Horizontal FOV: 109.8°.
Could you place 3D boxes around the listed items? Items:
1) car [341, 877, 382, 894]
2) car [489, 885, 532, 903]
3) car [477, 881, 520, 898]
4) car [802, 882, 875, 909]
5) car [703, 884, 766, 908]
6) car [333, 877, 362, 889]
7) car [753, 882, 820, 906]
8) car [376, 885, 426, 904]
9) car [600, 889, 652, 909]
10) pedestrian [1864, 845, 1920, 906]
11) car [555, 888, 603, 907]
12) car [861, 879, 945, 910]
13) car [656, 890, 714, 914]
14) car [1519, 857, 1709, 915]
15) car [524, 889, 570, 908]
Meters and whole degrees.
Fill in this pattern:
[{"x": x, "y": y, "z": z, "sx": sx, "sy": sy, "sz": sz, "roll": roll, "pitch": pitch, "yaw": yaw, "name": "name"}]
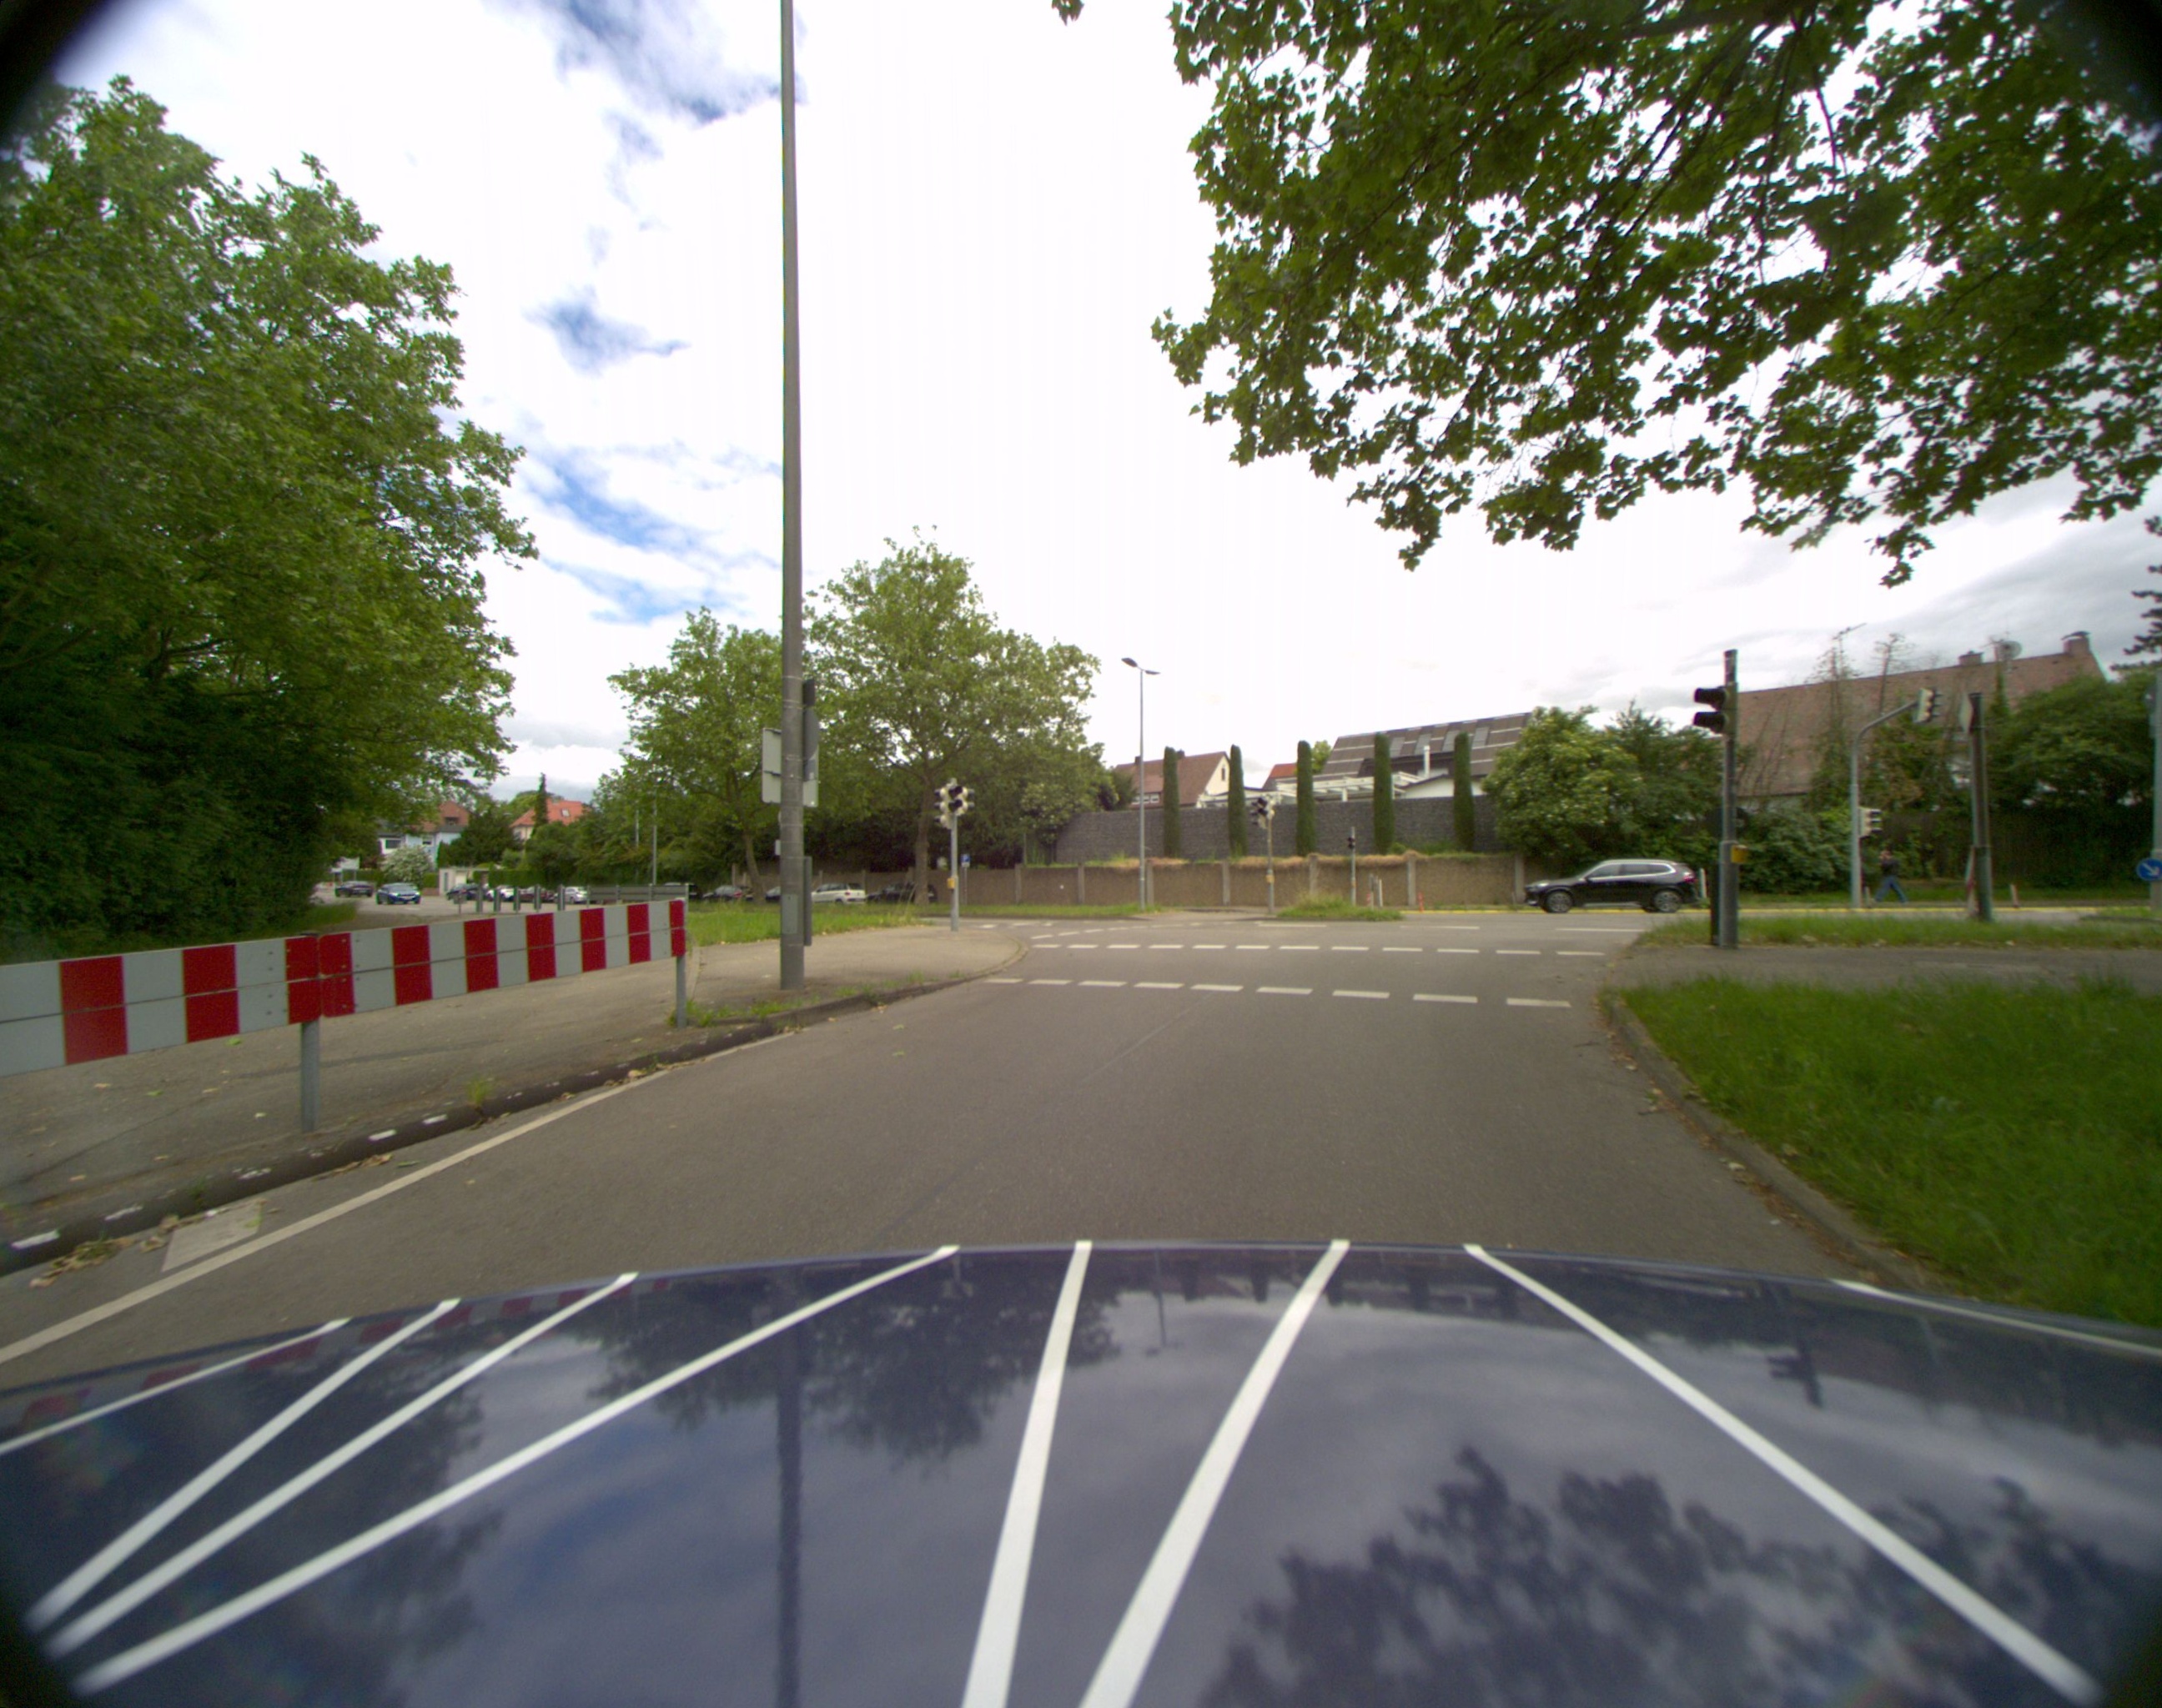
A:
[{"x": -72.060, "y": 3.157, "z": 76.089, "sx": 4.575, "sy": 1.605, "sz": 1.802, "roll": -2, "pitch": -4, "yaw": 32, "name": "car"}, {"x": -50.162, "y": 3.543, "z": 66.785, "sx": 3.821, "sy": 1.495, "sz": 1.691, "roll": -2, "pitch": -4, "yaw": 31, "name": "car"}, {"x": -52.565, "y": 3.227, "z": 68.561, "sx": 3.821, "sy": 1.495, "sz": 1.691, "roll": -2, "pitch": -4, "yaw": 31, "name": "car"}, {"x": -14.562, "y": 2.503, "z": 45.575, "sx": 4.207, "sy": 1.605, "sz": 1.802, "roll": -2, "pitch": -4, "yaw": 30, "name": "car"}, {"x": -23.092, "y": 2.798, "z": 50.568, "sx": 4.028, "sy": 1.495, "sz": 1.802, "roll": -2, "pitch": -4, "yaw": 31, "name": "car"}, {"x": -84.148, "y": 3.328, "z": 87.172, "sx": 3.821, "sy": 1.321, "sz": 1.691, "roll": -2, "pitch": -2, "yaw": 35, "name": "car"}, {"x": -18.596, "y": 2.535, "z": 47.958, "sx": 4.028, "sy": 1.495, "sz": 1.802, "roll": -2, "pitch": -4, "yaw": 31, "name": "car"}, {"x": -54.185, "y": 3.251, "z": 60.512, "sx": 4.136, "sy": 1.419, "sz": 1.802, "roll": -2, "pitch": -4, "yaw": 32, "name": "car"}, {"x": -34.429, "y": 3.394, "z": 57.454, "sx": 3.821, "sy": 1.495, "sz": 1.691, "roll": -2, "pitch": -4, "yaw": 31, "name": "car"}, {"x": 27.292, "y": 0.711, "z": 25.594, "sx": 0.853, "sy": 2.001, "sz": 0.954, "roll": -2, "pitch": -1, "yaw": 12, "name": "pedestrian"}, {"x": -40.197, "y": 3.496, "z": 60.798, "sx": 3.821, "sy": 1.495, "sz": 1.691, "roll": -2, "pitch": -4, "yaw": 31, "name": "car"}, {"x": -9.944, "y": 2.277, "z": 42.476, "sx": 4.450, "sy": 1.605, "sz": 1.802, "roll": -2, "pitch": -4, "yaw": 28, "name": "car"}, {"x": -27.934, "y": 3.347, "z": 53.618, "sx": 4.028, "sy": 1.593, "sz": 1.801, "roll": -2, "pitch": -2, "yaw": 31, "name": "car"}, {"x": 16.190, "y": 1.013, "z": 23.395, "sx": 4.455, "sy": 1.621, "sz": 1.850, "roll": -2, "pitch": -3, "yaw": 24, "name": "car"}, {"x": -44.800, "y": 3.726, "z": 63.741, "sx": 3.821, "sy": 1.495, "sz": 1.691, "roll": -2, "pitch": -4, "yaw": 31, "name": "car"}]
